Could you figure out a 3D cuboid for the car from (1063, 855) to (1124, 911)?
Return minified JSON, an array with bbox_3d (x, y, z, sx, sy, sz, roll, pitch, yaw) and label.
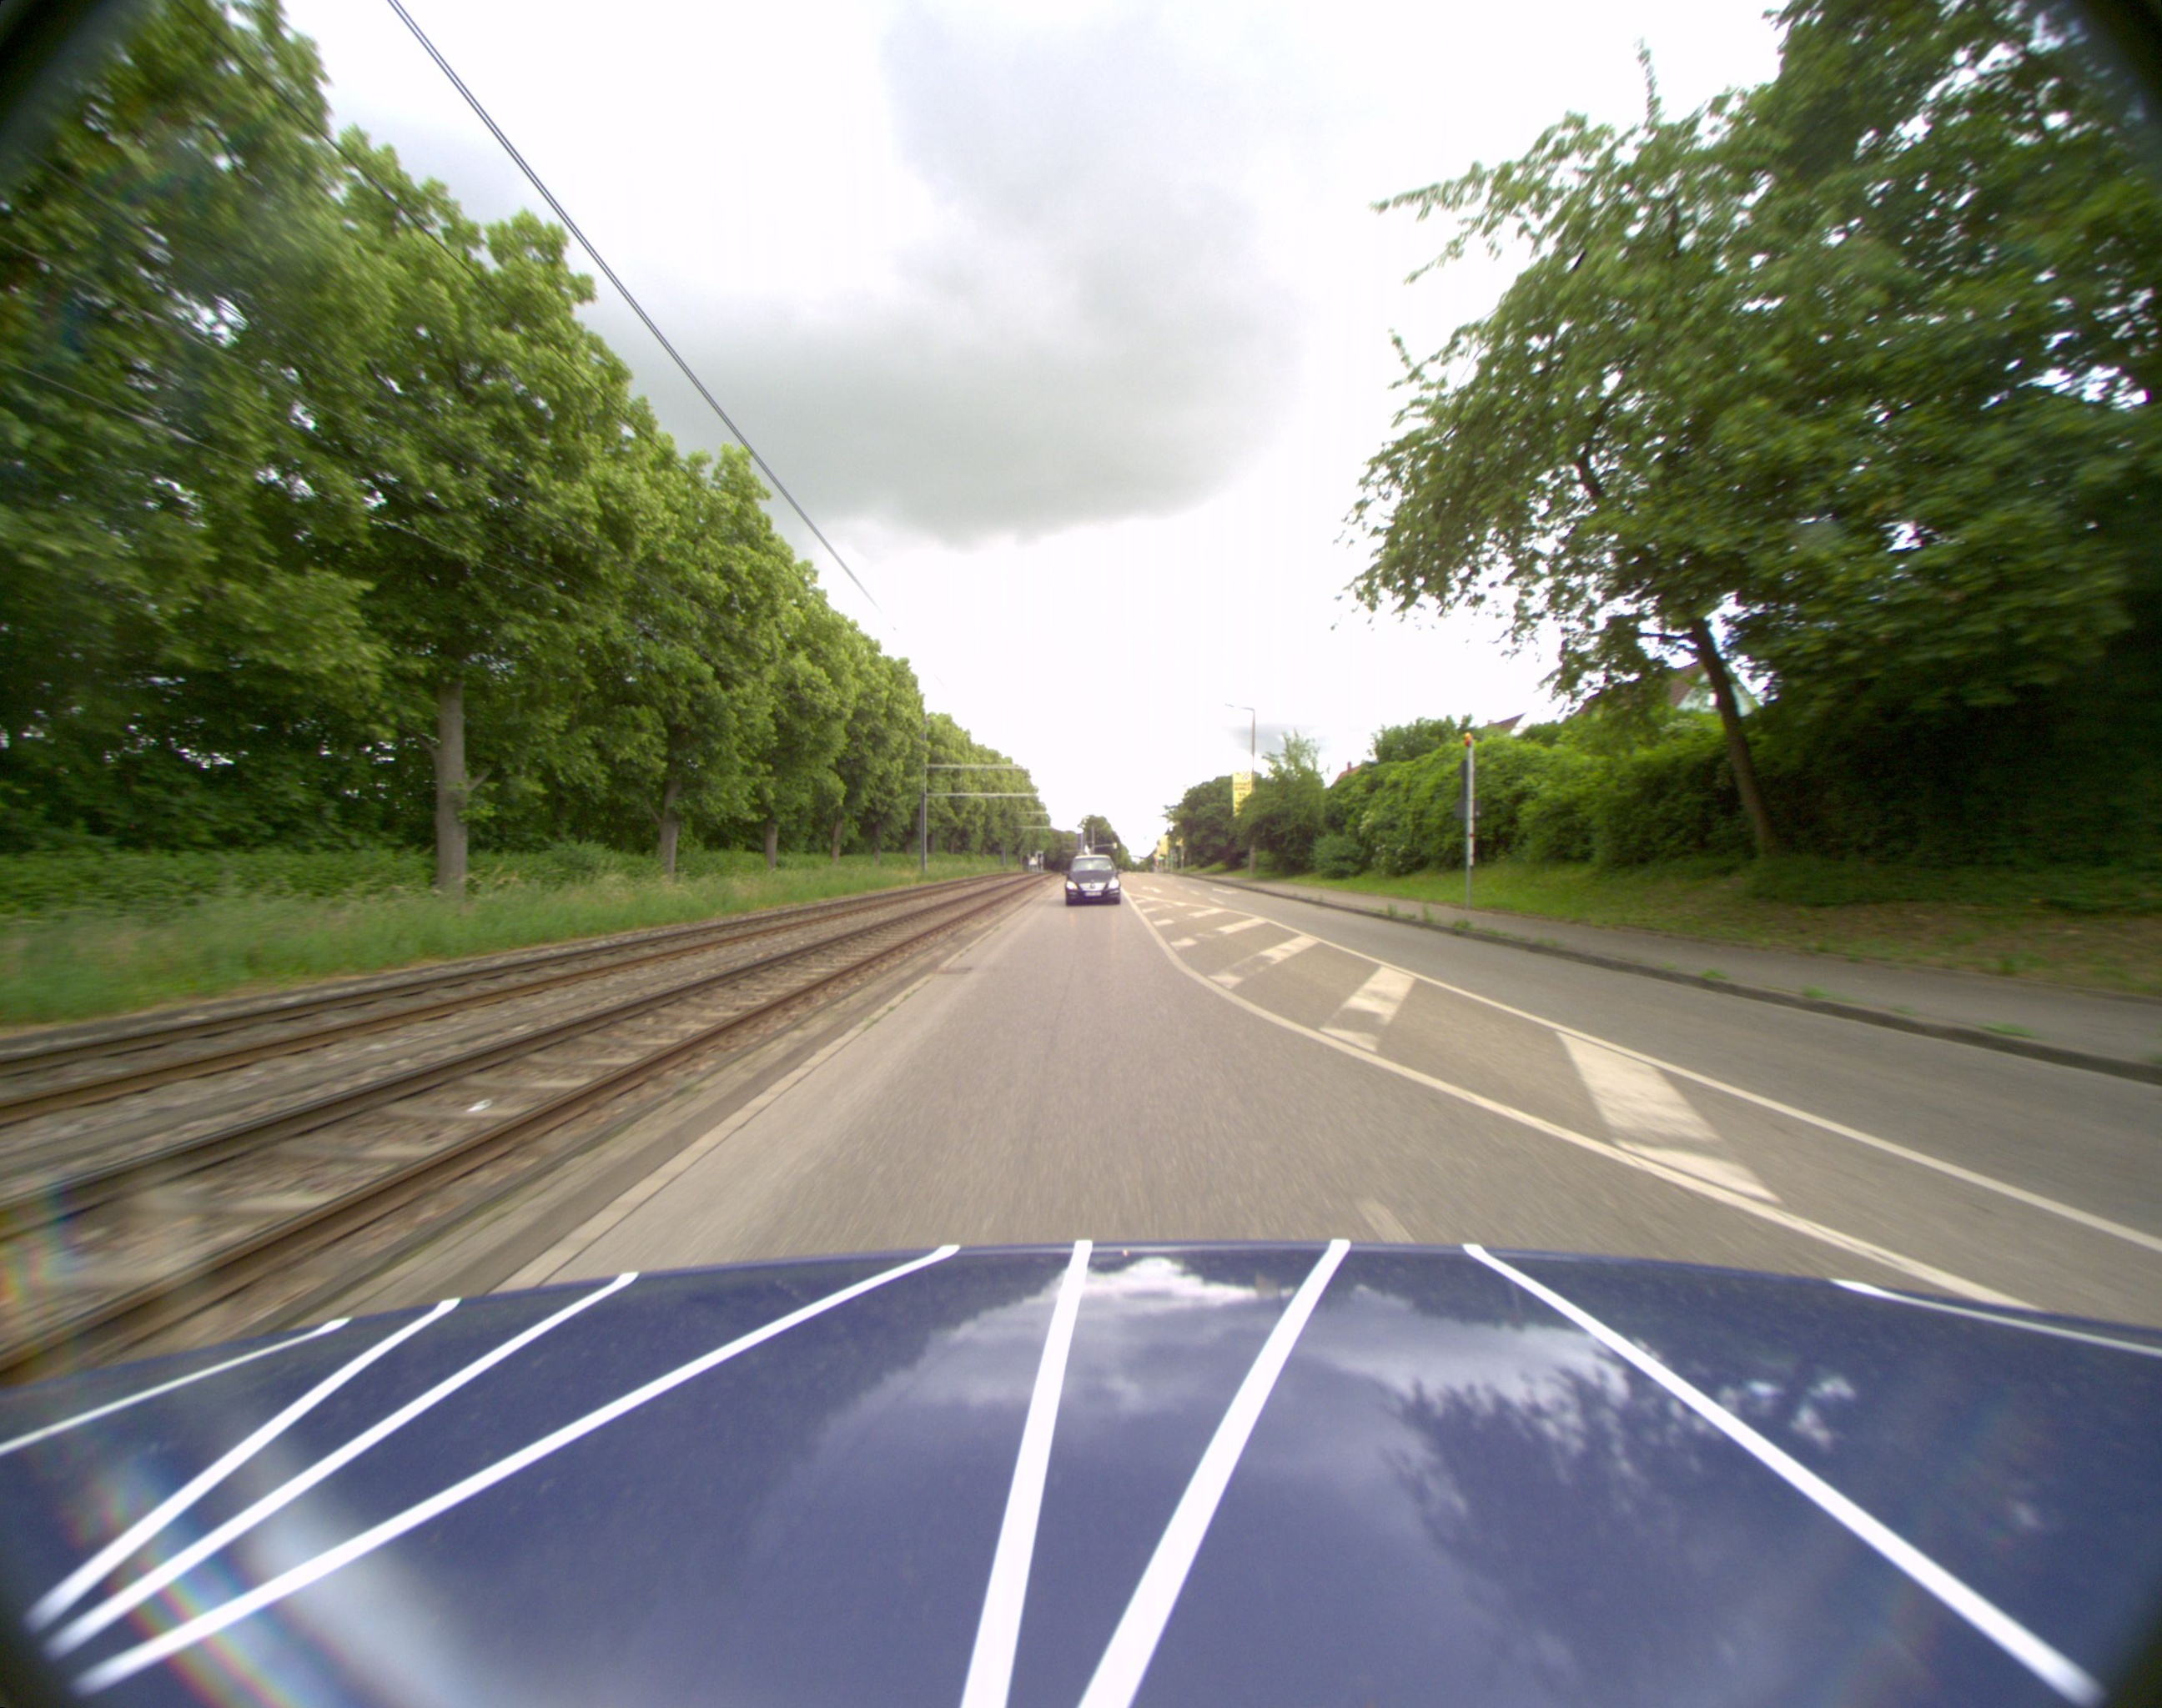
[{"bbox_3d":[0.455,0.861,24.326,1.749,1.558,4.122,-2,0,2],"label":"car"}]
